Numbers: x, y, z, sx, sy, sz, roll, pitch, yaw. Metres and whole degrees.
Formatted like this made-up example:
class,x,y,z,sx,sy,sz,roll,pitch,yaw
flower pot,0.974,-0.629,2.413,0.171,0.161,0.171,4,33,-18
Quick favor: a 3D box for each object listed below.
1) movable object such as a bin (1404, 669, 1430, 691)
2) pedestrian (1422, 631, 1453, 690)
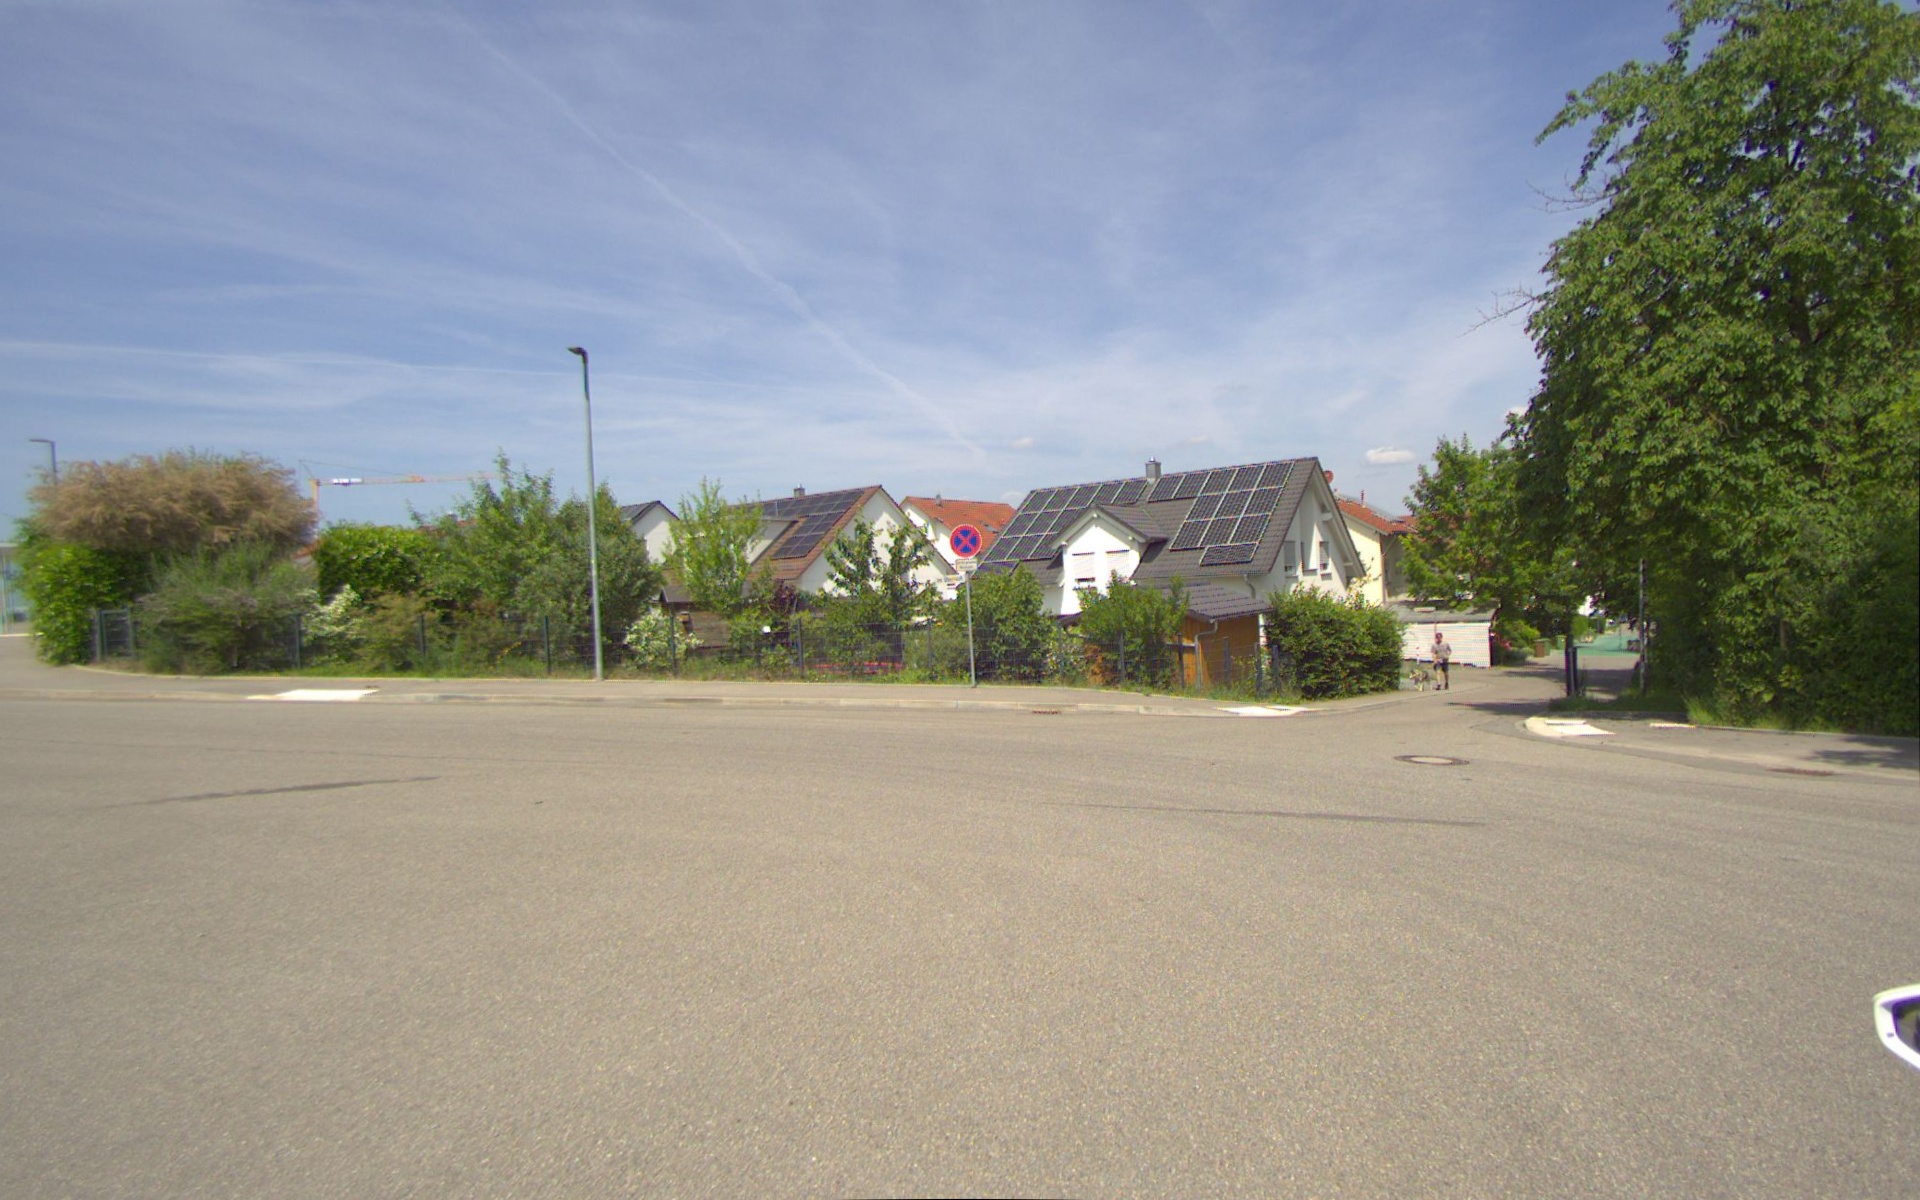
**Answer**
class,x,y,z,sx,sy,sz,roll,pitch,yaw
movable object such as a bin,13.949,2.427,30.664,0.541,0.637,1.017,-1,-4,36
pedestrian,15.222,1.934,32.012,0.834,1.843,0.834,-1,-5,30
